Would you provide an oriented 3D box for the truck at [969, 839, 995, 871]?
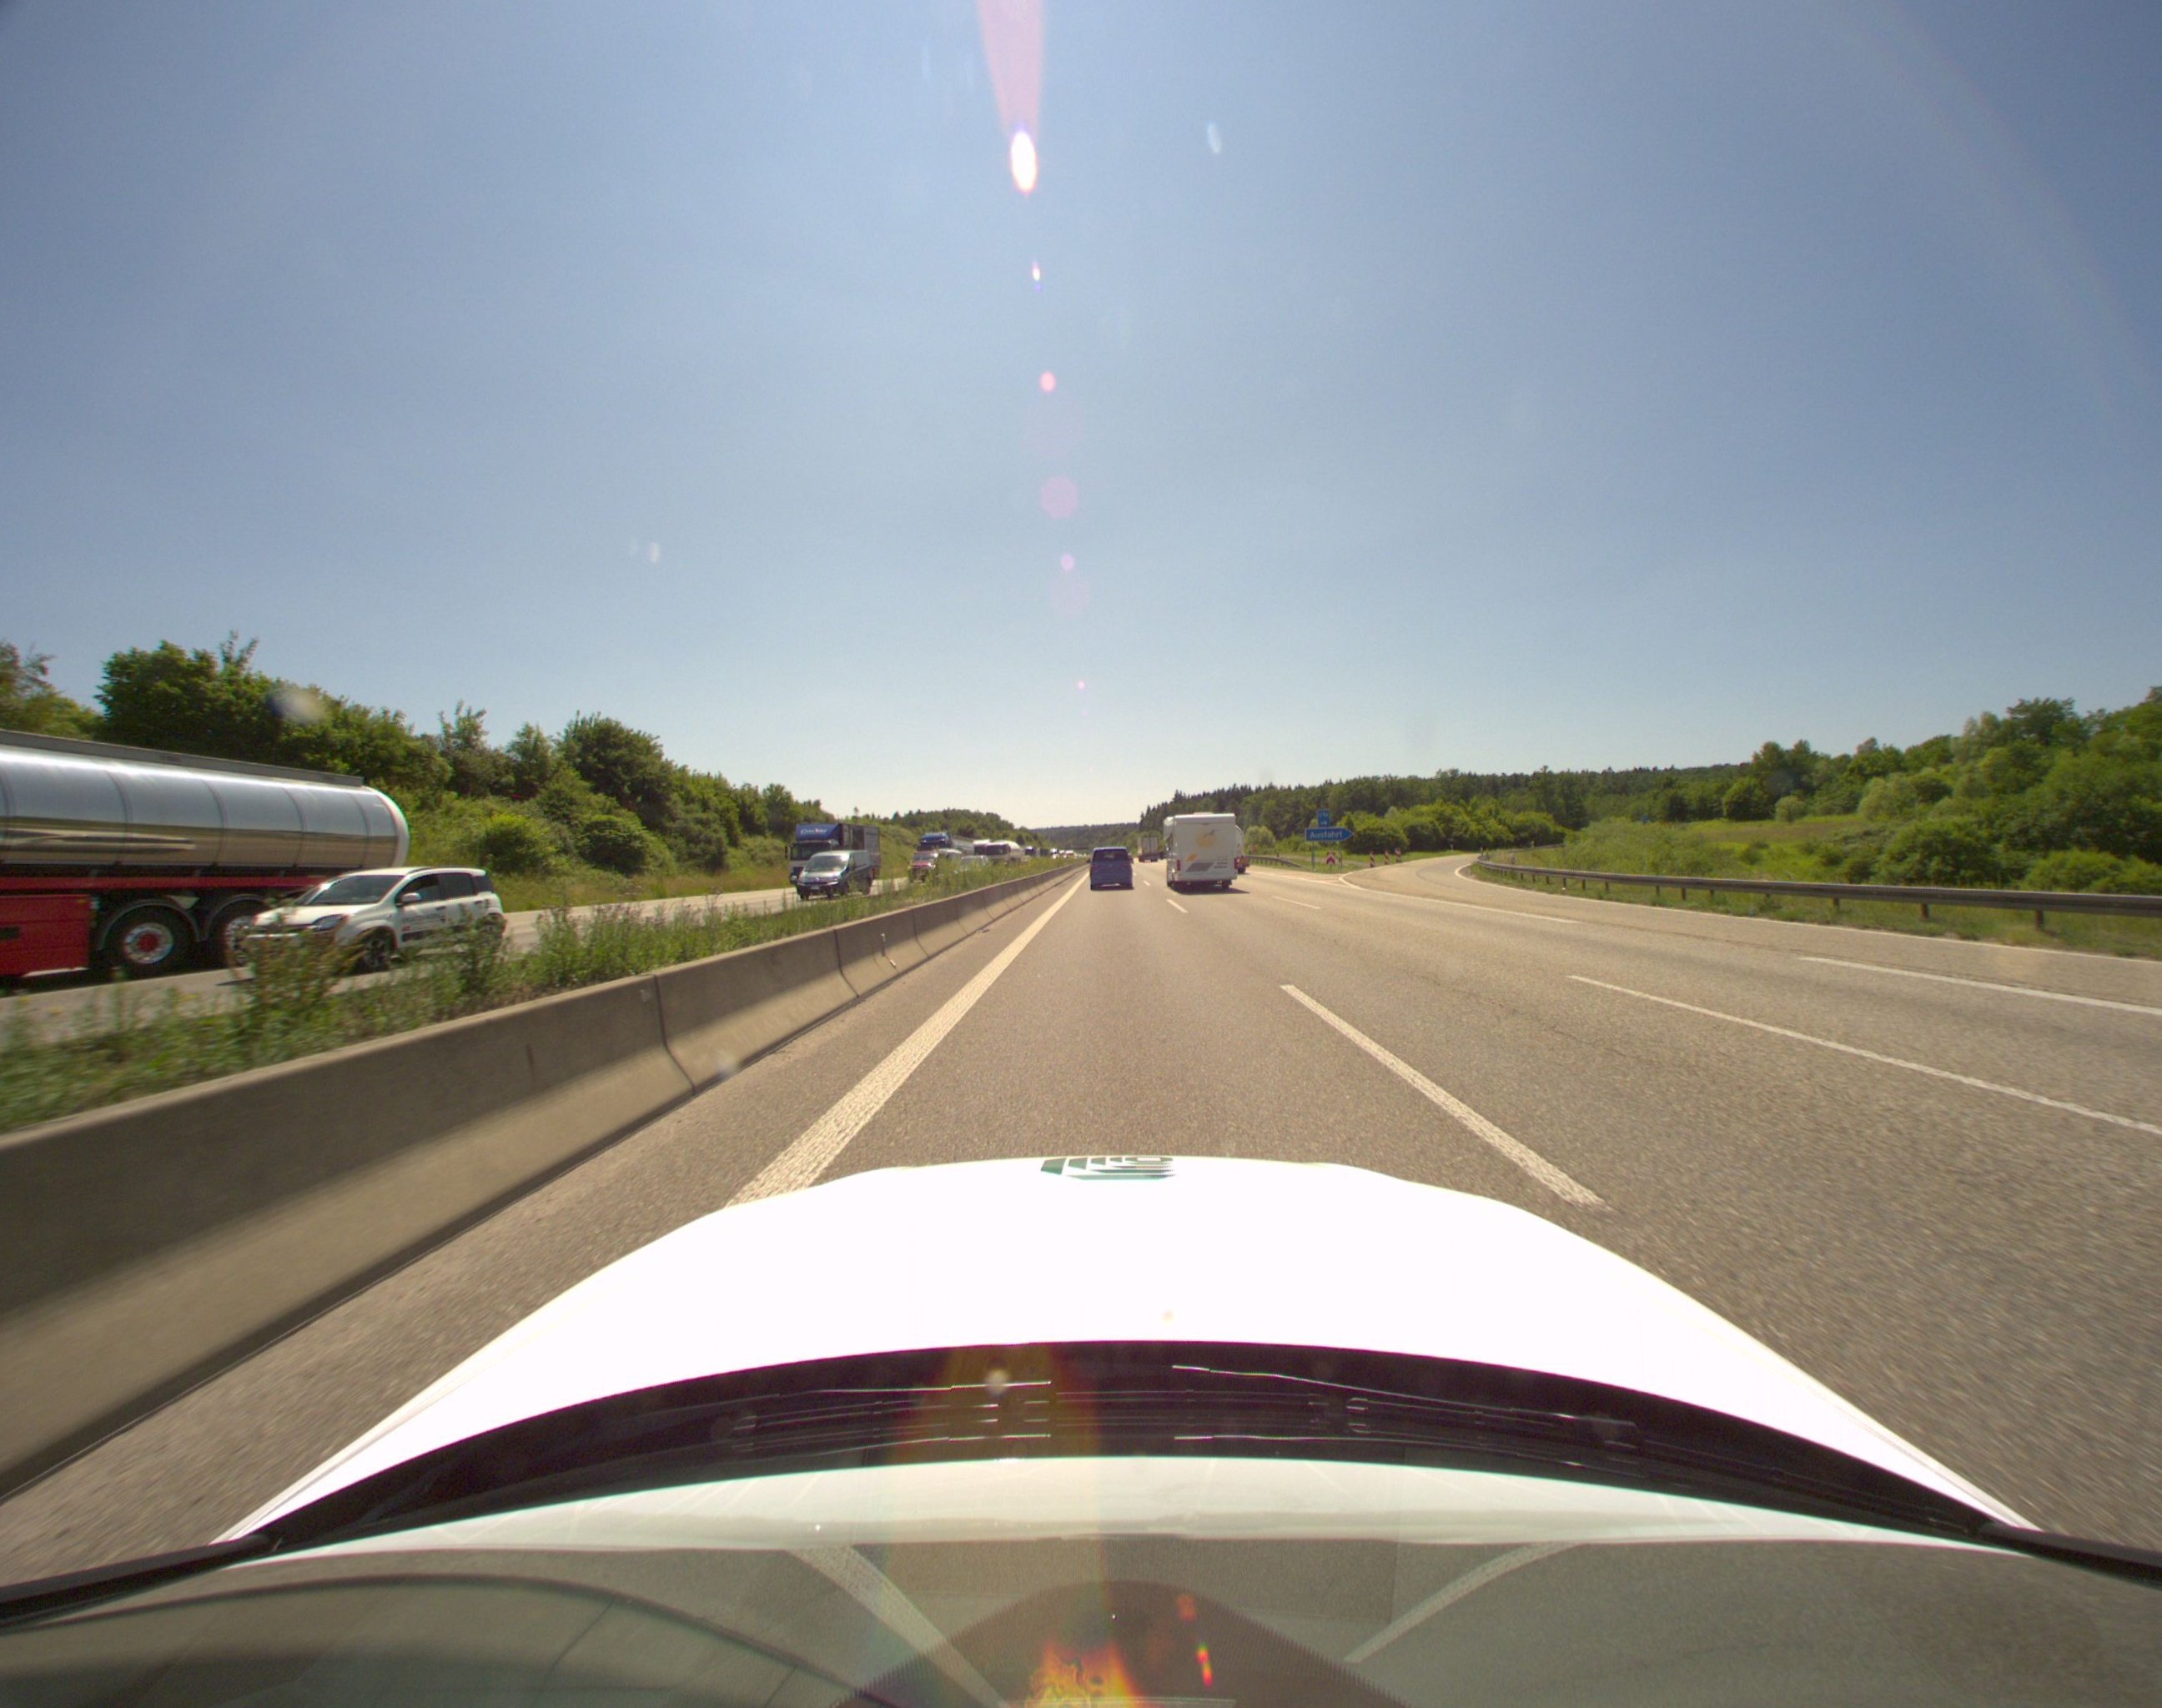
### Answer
[{"bbox_3d":[-12.893,0.160,106.130,2.079,4.029,7.882,0,-1,2],"label":"truck"}]

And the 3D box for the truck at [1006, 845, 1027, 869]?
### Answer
[{"bbox_3d":[-10.994,0.540,139.316,2.681,3.879,6.321,-1,-1,3],"label":"truck"}]

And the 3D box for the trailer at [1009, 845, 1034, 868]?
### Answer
[{"bbox_3d":[-10.605,0.551,146.413,2.668,3.950,13.256,0,-1,3],"label":"trailer"}]

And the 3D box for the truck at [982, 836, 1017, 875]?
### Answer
[{"bbox_3d":[-8.740,0.196,87.820,2.608,3.890,7.405,-2,-1,2],"label":"truck"}]

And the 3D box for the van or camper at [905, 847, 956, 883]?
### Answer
[{"bbox_3d":[-9.822,0.704,53.601,1.986,2.153,5.956,-3,-1,1],"label":"van or camper"}]

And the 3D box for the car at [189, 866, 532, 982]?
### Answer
[{"bbox_3d":[-11.276,0.987,13.244,1.747,1.550,4.190,0,-1,2],"label":"car"}]

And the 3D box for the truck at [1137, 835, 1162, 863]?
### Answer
[{"bbox_3d":[10.716,-0.712,128.615,3.474,4.170,8.644,0,-1,2],"label":"truck"}]

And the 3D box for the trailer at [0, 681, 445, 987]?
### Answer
[{"bbox_3d":[-15.205,-0.174,11.328,2.670,3.949,12.277,-4,0,1],"label":"trailer"}]

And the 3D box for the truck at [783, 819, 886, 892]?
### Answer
[{"bbox_3d":[-13.861,0.136,46.858,2.535,3.675,9.941,-1,-1,2],"label":"truck"}]

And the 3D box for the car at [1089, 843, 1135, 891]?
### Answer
[{"bbox_3d":[1.423,0.582,37.292,1.902,2.014,4.001,-2,-1,2],"label":"car"}]

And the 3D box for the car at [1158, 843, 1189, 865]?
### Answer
[{"bbox_3d":[6.760,0.043,59.781,1.902,1.475,4.001,-3,-1,2],"label":"car"}]

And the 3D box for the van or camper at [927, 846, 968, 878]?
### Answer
[{"bbox_3d":[-9.662,0.573,59.346,1.986,2.153,4.718,-3,-1,1],"label":"van or camper"}]

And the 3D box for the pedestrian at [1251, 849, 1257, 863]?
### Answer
[{"bbox_3d":[25.792,0.313,121.406,0.685,2.080,0.928,0,-1,2],"label":"pedestrian"}]

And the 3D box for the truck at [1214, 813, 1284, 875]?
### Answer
[{"bbox_3d":[10.710,-0.658,52.801,2.916,3.575,8.531,-2,0,2],"label":"truck"}]

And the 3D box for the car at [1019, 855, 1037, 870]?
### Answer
[{"bbox_3d":[-7.702,1.251,118.422,2.077,2.063,5.062,-2,0,2],"label":"car"}]

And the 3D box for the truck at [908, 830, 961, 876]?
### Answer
[{"bbox_3d":[-13.384,-0.031,74.988,3.477,4.037,6.646,0,-1,1],"label":"truck"}]

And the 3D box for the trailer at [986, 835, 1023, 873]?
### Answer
[{"bbox_3d":[-8.676,0.011,94.048,2.670,3.950,11.647,-4,-1,1],"label":"trailer"}]

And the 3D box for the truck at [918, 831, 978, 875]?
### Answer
[{"bbox_3d":[-13.204,-0.087,82.426,3.565,4.093,12.584,-1,0,2],"label":"truck"}]

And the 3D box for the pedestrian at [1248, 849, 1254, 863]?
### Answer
[{"bbox_3d":[24.924,0.296,119.142,0.685,2.080,0.928,0,-1,2],"label":"pedestrian"}]

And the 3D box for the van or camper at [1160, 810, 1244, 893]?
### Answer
[{"bbox_3d":[4.822,-0.061,33.678,2.593,3.079,7.184,0,-1,2],"label":"van or camper"}]

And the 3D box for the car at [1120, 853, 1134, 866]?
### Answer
[{"bbox_3d":[6.674,0.774,118.215,1.811,1.794,3.895,0,-1,2],"label":"car"}]

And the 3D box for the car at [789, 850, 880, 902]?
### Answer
[{"bbox_3d":[-10.042,0.857,33.648,2.016,1.958,5.096,-1,-1,2],"label":"car"}]
